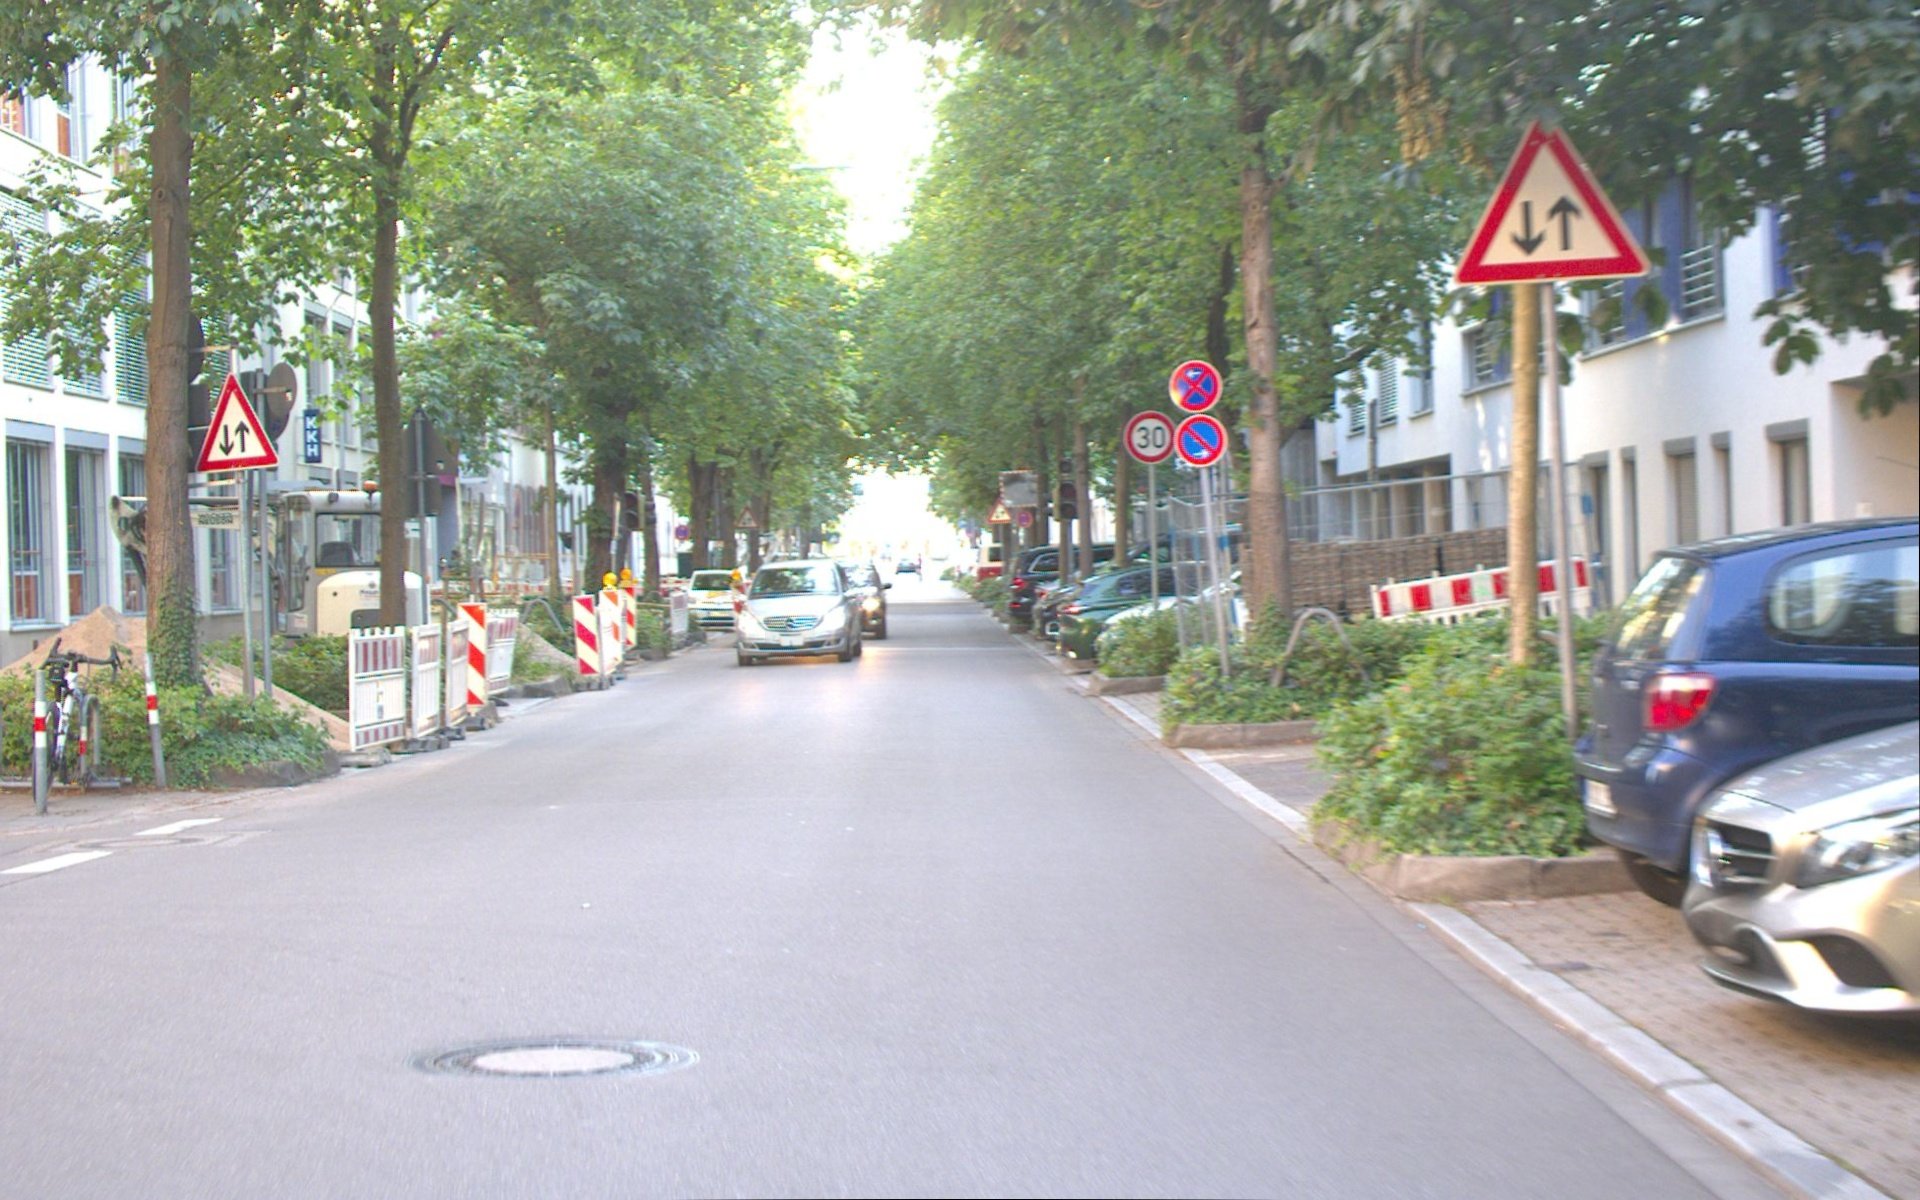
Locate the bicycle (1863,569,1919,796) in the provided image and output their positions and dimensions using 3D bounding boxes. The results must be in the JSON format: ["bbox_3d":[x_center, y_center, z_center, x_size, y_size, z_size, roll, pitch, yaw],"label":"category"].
[{"bbox_3d":[5.724,0.449,19.436,0.828,1.231,1.803,-1,1,3],"label":"bicycle"}]

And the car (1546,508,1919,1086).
[{"bbox_3d":[4.274,0.496,10.394,4.621,1.566,2.011,-1,1,-1],"label":"car"}]

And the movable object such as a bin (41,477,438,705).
[{"bbox_3d":[-7.986,-0.132,38.552,4.045,2.375,2.785,-1,1,-6],"label":"movable object such as a bin"}]

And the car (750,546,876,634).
[{"bbox_3d":[-3.102,-0.236,71.523,1.949,1.708,4.703,-2,1,-10],"label":"car"}]

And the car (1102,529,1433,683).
[{"bbox_3d":[3.789,0.062,42.806,3.987,1.798,2.000,-1,1,3],"label":"car"}]

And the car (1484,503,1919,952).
[{"bbox_3d":[3.923,0.416,13.052,3.539,1.558,1.832,-1,1,-1],"label":"car"}]

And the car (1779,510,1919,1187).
[{"bbox_3d":[4.537,0.523,8.002,4.782,1.515,1.991,-1,1,1],"label":"car"}]

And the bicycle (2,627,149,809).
[{"bbox_3d":[-6.161,0.798,24.044,0.683,1.148,1.981,-1,1,-6],"label":"bicycle"}]

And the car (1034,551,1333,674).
[{"bbox_3d":[3.039,0.157,47.381,3.987,1.579,2.000,-1,1,1],"label":"car"}]

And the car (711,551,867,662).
[{"bbox_3d":[-2.657,0.073,54.324,2.010,1.607,4.119,-1,1,3],"label":"car"}]

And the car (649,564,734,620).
[{"bbox_3d":[-6.523,-0.213,83.361,1.993,1.284,4.001,-1,1,-5],"label":"car"}]

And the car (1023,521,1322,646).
[{"bbox_3d":[3.447,-0.289,56.401,4.738,2.007,2.000,0,1,-1],"label":"car"}]
